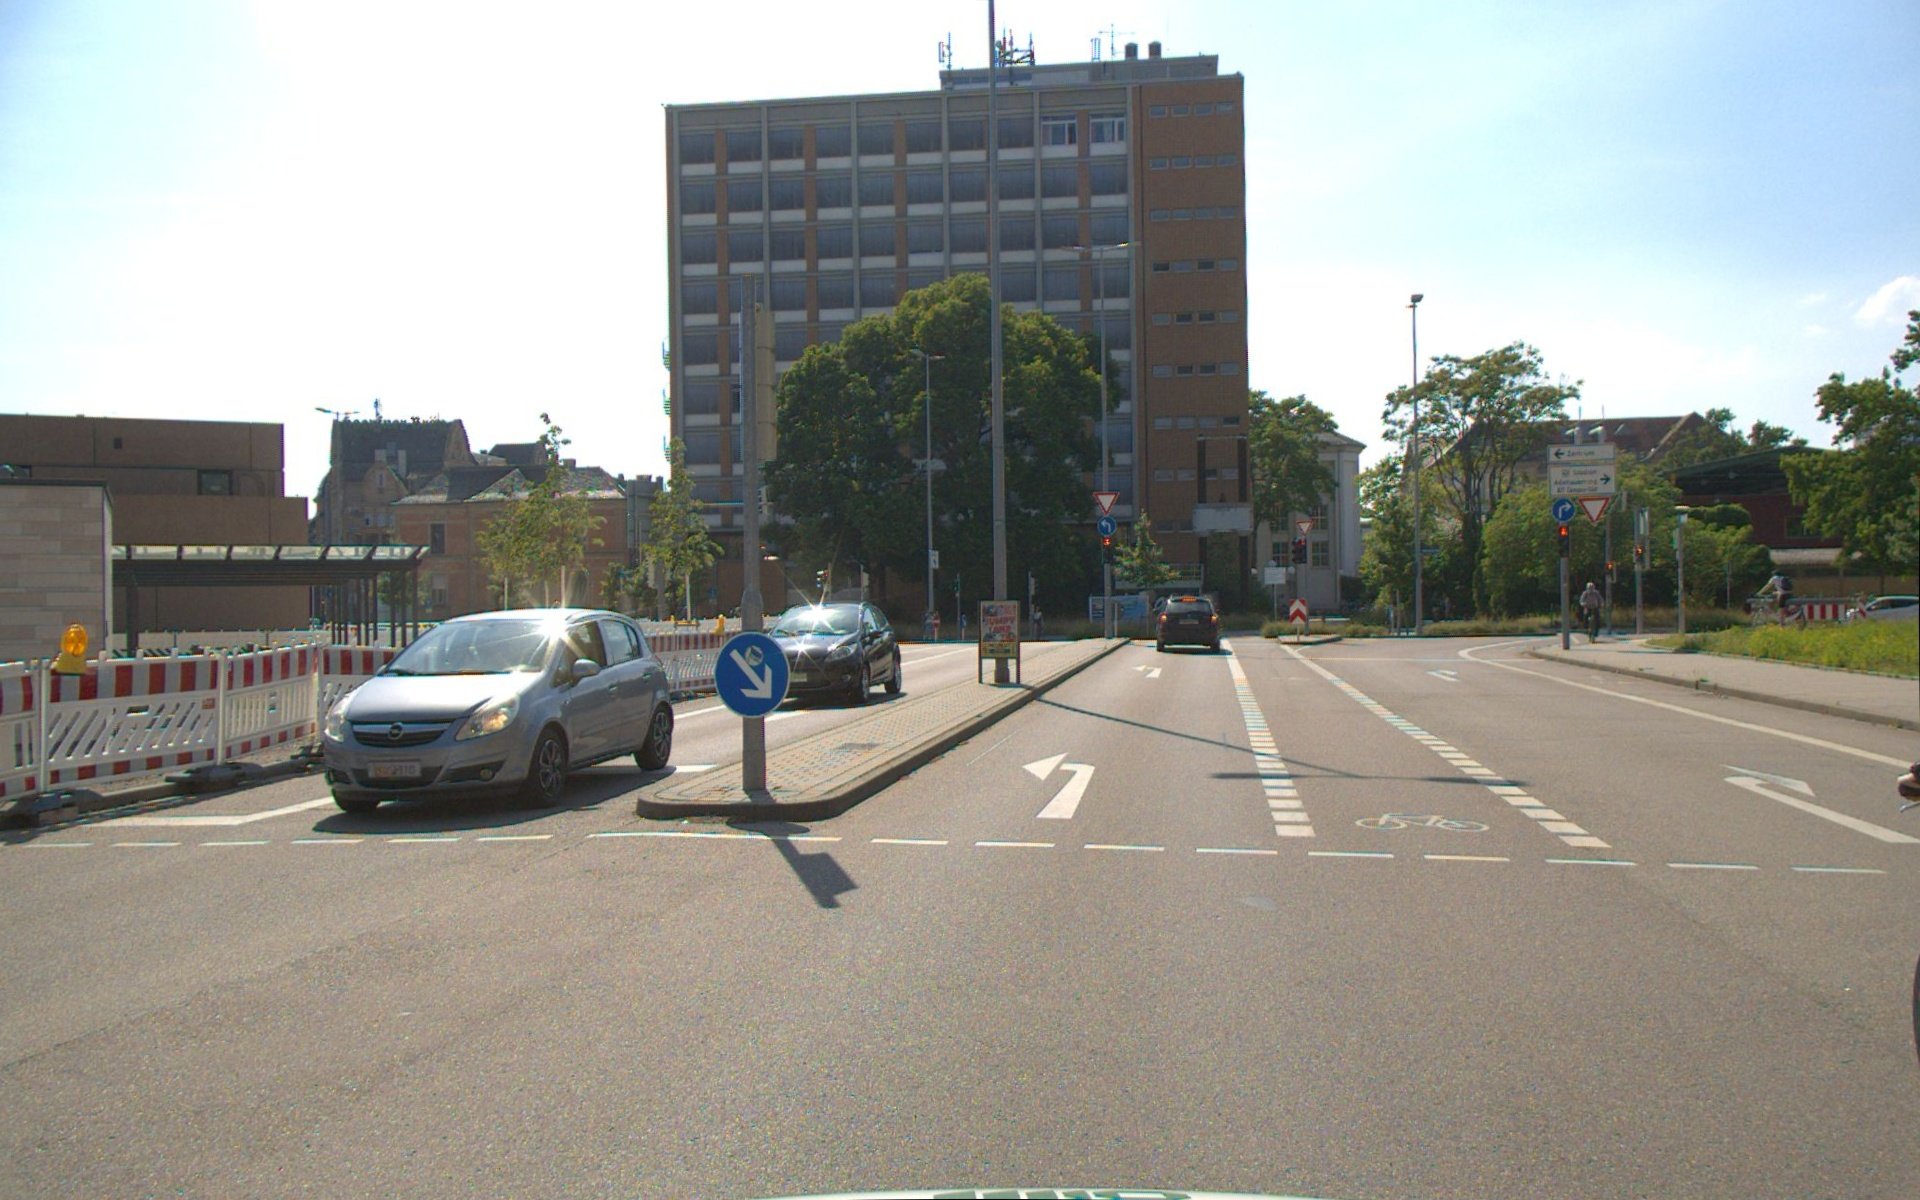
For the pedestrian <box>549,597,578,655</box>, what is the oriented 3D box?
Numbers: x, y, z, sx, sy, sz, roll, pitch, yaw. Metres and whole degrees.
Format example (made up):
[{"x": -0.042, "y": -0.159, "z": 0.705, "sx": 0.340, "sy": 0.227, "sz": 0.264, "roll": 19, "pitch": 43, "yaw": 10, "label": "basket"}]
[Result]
[{"x": -12.400, "y": 0.819, "z": 51.757, "sx": 0.722, "sy": 1.783, "sz": 1.109, "roll": -2, "pitch": -3, "yaw": -7, "label": "pedestrian"}]

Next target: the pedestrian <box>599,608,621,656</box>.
[{"x": -11.250, "y": 1.024, "z": 53.198, "sx": 0.619, "sy": 1.518, "sz": 0.616, "roll": -2, "pitch": 0, "yaw": -8, "label": "pedestrian"}]

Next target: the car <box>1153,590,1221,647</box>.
[{"x": 6.212, "y": 0.488, "z": 45.039, "sx": 1.742, "sy": 1.468, "sz": 3.821, "roll": 0, "pitch": 0, "yaw": 9, "label": "car"}]

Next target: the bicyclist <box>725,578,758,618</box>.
[{"x": -8.553, "y": -0.077, "z": 64.768, "sx": 1.141, "sy": 1.500, "sz": 0.564, "roll": -2, "pitch": 0, "yaw": 21, "label": "bicyclist"}]

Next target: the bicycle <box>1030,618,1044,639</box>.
[{"x": 3.843, "y": 1.421, "z": 82.540, "sx": 0.605, "sy": 0.977, "sz": 1.969, "roll": -4, "pitch": 0, "yaw": 4, "label": "bicycle"}]

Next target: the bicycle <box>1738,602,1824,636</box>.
[{"x": 23.651, "y": 0.546, "z": 47.682, "sx": 0.666, "sy": 0.932, "sz": 2.143, "roll": -1, "pitch": 0, "yaw": -34, "label": "bicycle"}]

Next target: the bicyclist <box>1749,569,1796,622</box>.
[{"x": 23.496, "y": -0.133, "z": 47.857, "sx": 0.490, "sy": 1.496, "sz": 1.129, "roll": 2, "pitch": -1, "yaw": -34, "label": "bicyclist"}]

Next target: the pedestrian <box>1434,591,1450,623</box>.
[{"x": 29.167, "y": 0.418, "z": 100.054, "sx": 0.777, "sy": 1.907, "sz": 0.639, "roll": -3, "pitch": 0, "yaw": 20, "label": "pedestrian"}]

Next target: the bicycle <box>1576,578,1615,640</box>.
[{"x": 18.704, "y": 0.257, "z": 48.714, "sx": 0.663, "sy": 1.796, "sz": 1.812, "roll": -2, "pitch": 0, "yaw": 8, "label": "bicycle"}]

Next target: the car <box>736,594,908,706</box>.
[{"x": -1.966, "y": 0.684, "z": 24.662, "sx": 1.631, "sy": 1.476, "sz": 3.821, "roll": -3, "pitch": 0, "yaw": 9, "label": "car"}]

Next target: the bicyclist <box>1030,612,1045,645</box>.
[{"x": 3.866, "y": 1.420, "z": 82.539, "sx": 0.605, "sy": 1.609, "sz": 1.014, "roll": -4, "pitch": -1, "yaw": 4, "label": "bicyclist"}]

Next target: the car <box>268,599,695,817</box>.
[{"x": -3.667, "y": 0.760, "z": 13.487, "sx": 1.755, "sy": 1.436, "sz": 4.003, "roll": -3, "pitch": 0, "yaw": 9, "label": "car"}]

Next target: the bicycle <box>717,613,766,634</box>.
[{"x": -8.548, "y": 0.922, "z": 64.764, "sx": 1.851, "sy": 0.806, "sz": 0.560, "roll": -1, "pitch": 1, "yaw": 21, "label": "bicycle"}]

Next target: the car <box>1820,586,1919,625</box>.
[{"x": 37.962, "y": 0.232, "z": 68.276, "sx": 3.902, "sy": 1.490, "sz": 2.001, "roll": -1, "pitch": -1, "yaw": 8, "label": "car"}]

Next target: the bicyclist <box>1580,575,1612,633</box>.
[{"x": 18.708, "y": 0.112, "z": 48.675, "sx": 0.663, "sy": 1.684, "sz": 0.919, "roll": -2, "pitch": 0, "yaw": 8, "label": "bicyclist"}]

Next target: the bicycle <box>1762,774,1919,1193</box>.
[{"x": 2.651, "y": 0.986, "z": 3.902, "sx": 0.584, "sy": 0.948, "sz": 2.028, "roll": 0, "pitch": 0, "yaw": 2, "label": "bicycle"}]

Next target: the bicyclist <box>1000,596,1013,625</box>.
[{"x": 2.408, "y": 0.550, "z": 85.057, "sx": 0.528, "sy": 1.441, "sz": 1.031, "roll": -2, "pitch": -1, "yaw": 7, "label": "bicyclist"}]

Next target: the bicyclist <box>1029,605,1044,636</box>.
[{"x": 3.818, "y": 1.013, "z": 82.546, "sx": 0.605, "sy": 1.468, "sz": 0.921, "roll": -4, "pitch": -1, "yaw": 4, "label": "bicyclist"}]

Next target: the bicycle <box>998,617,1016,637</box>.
[{"x": 2.429, "y": 1.403, "z": 85.217, "sx": 0.689, "sy": 0.994, "sz": 2.032, "roll": -2, "pitch": 0, "yaw": 7, "label": "bicycle"}]

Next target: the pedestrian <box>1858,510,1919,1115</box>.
[{"x": 2.652, "y": 0.521, "z": 3.843, "sx": 0.571, "sy": 1.492, "sz": 1.013, "roll": 0, "pitch": -1, "yaw": 0, "label": "pedestrian"}]
